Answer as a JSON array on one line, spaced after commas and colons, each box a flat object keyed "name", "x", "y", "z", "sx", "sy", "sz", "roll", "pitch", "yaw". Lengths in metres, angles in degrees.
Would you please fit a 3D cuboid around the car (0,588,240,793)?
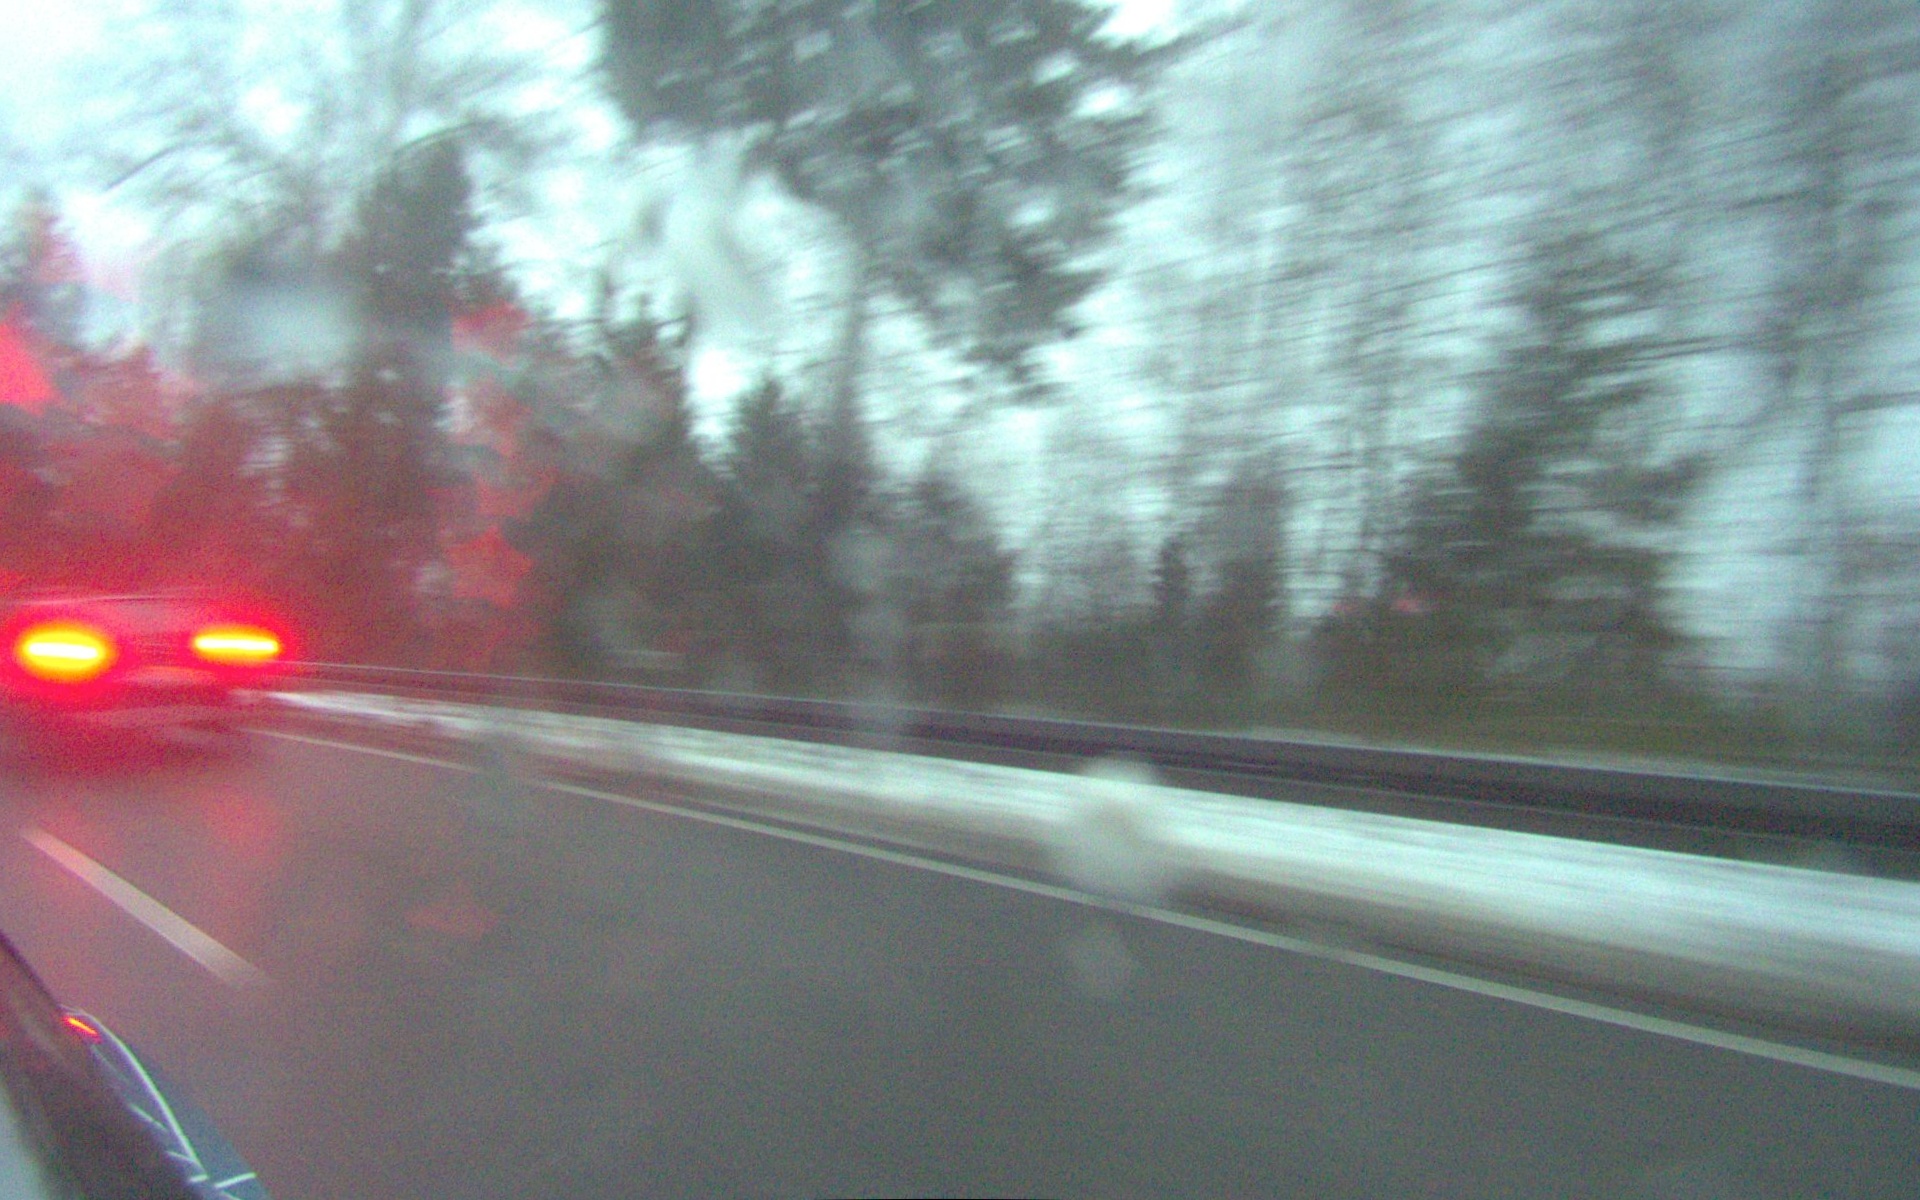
[{"name": "car", "x": -8.822, "y": 0.743, "z": 10.049, "sx": 3.995, "sy": 1.642, "sz": 1.705, "roll": -1, "pitch": 0, "yaw": 39}]
